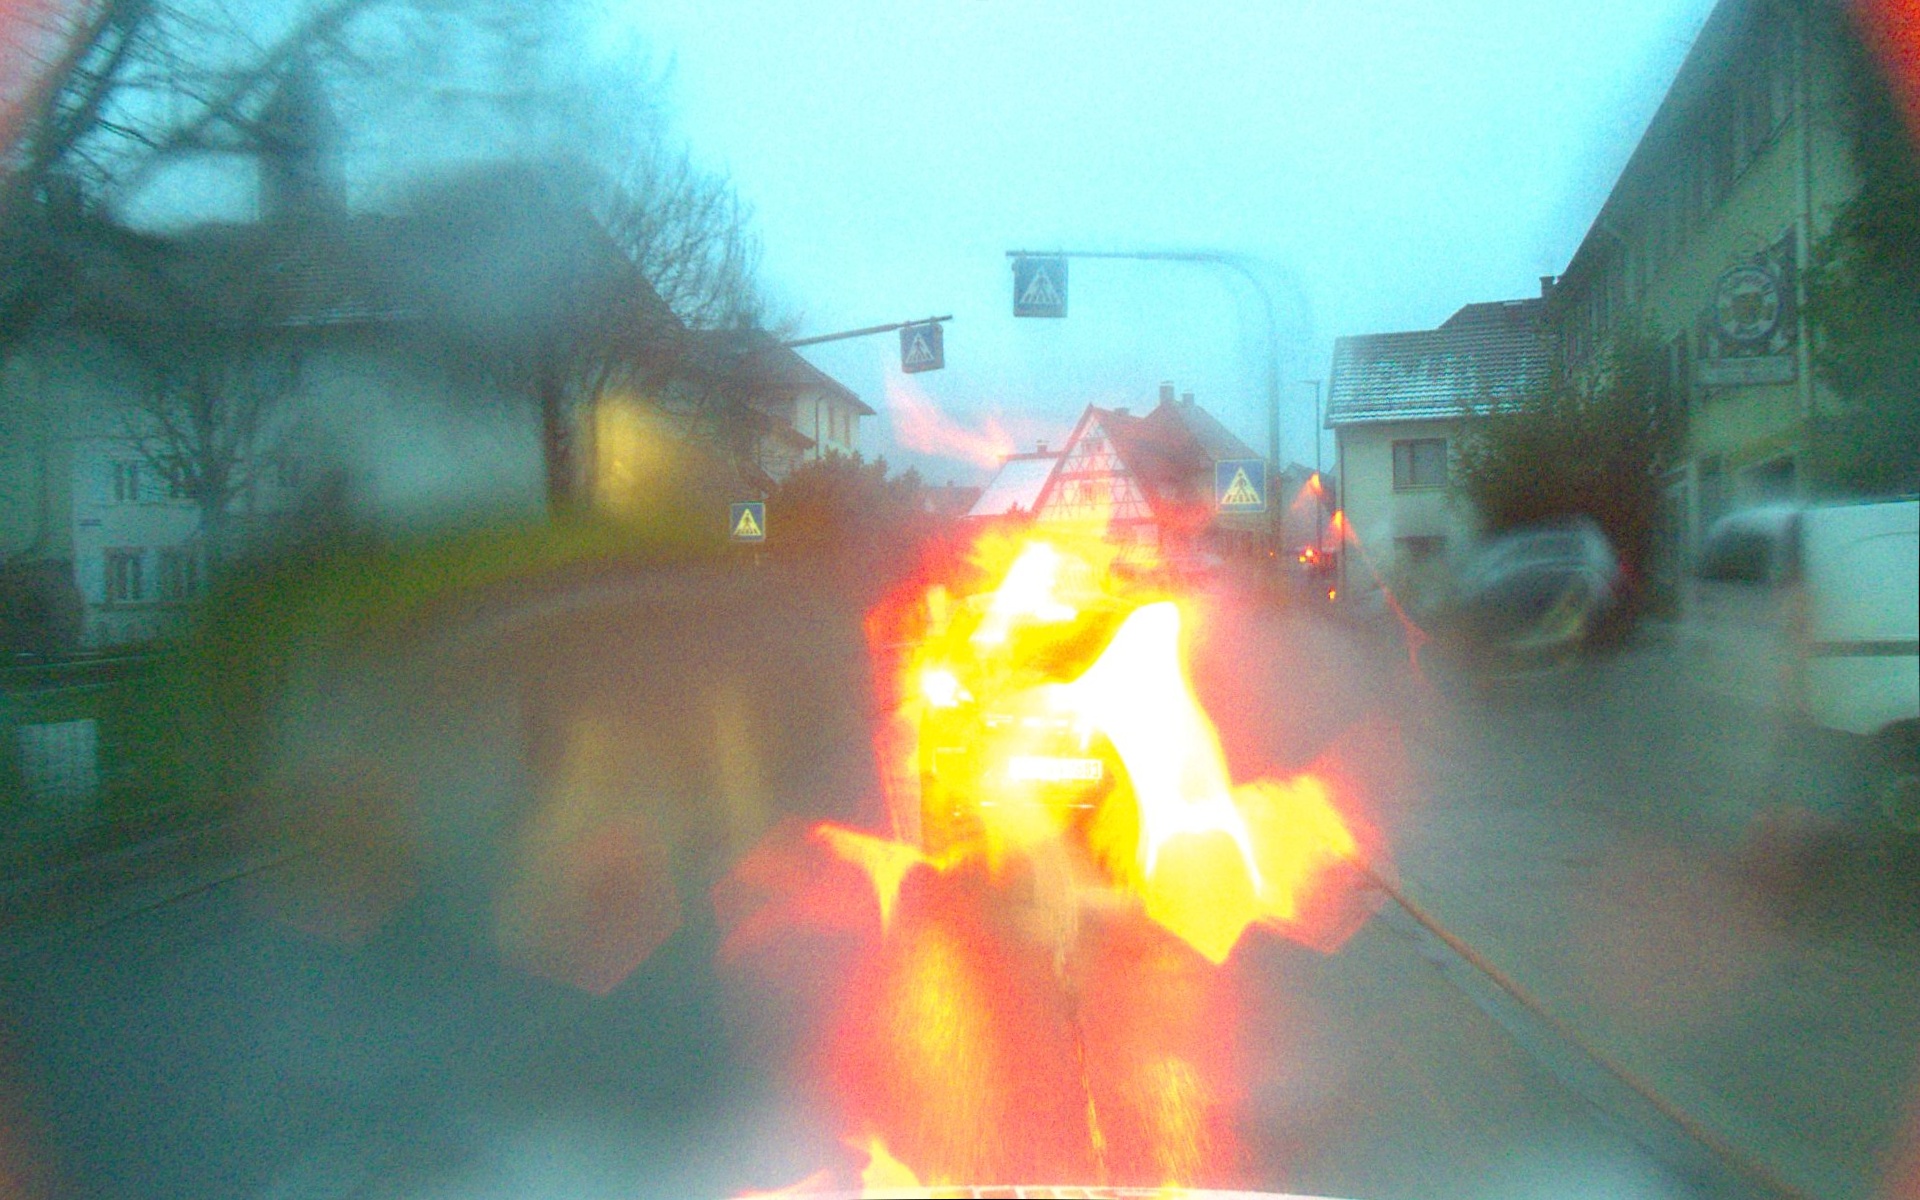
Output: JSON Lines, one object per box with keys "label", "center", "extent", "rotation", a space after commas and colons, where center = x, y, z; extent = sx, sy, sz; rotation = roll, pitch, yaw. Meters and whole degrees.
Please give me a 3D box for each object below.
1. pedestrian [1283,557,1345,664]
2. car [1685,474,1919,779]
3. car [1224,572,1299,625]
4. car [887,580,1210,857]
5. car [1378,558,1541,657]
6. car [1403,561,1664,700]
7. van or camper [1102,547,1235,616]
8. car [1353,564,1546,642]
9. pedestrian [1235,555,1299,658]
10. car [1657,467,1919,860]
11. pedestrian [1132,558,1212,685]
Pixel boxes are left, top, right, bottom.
{"label": "pedestrian", "center": [6.065, 0.168, 28.322], "extent": [0.830, 1.763, 0.972], "rotation": [-4, 0, 19]}
{"label": "car", "center": [7.781, 0.065, 11.209], "extent": [4.874, 1.922, 1.939], "rotation": [-3, 1, 11]}
{"label": "car", "center": [10.040, -0.072, 54.839], "extent": [1.809, 1.665, 4.337], "rotation": [0, 0, 19]}
{"label": "car", "center": [0.446, 0.626, 11.042], "extent": [1.759, 1.502, 3.999], "rotation": [0, 1, -1]}
{"label": "car", "center": [8.642, 0.118, 28.768], "extent": [2.527, 1.574, 1.553], "rotation": [-2, 1, 11]}
{"label": "car", "center": [6.722, 0.352, 19.593], "extent": [2.704, 1.499, 1.428], "rotation": [-2, 0, 12]}
{"label": "van or camper", "center": [10.365, -0.884, 82.336], "extent": [5.943, 3.006, 2.404], "rotation": [-4, -1, 27]}
{"label": "car", "center": [10.405, 0.063, 35.409], "extent": [3.817, 1.499, 1.752], "rotation": [-2, 0, 14]}
{"label": "pedestrian", "center": [5.315, 0.109, 28.612], "extent": [0.849, 1.696, 0.992], "rotation": [-4, 0, 19]}
{"label": "car", "center": [6.075, 0.227, 8.763], "extent": [3.956, 1.875, 1.865], "rotation": [-3, 0, 6]}
{"label": "pedestrian", "center": [3.079, 0.302, 23.959], "extent": [0.861, 1.765, 0.956], "rotation": [-4, 0, 19]}
